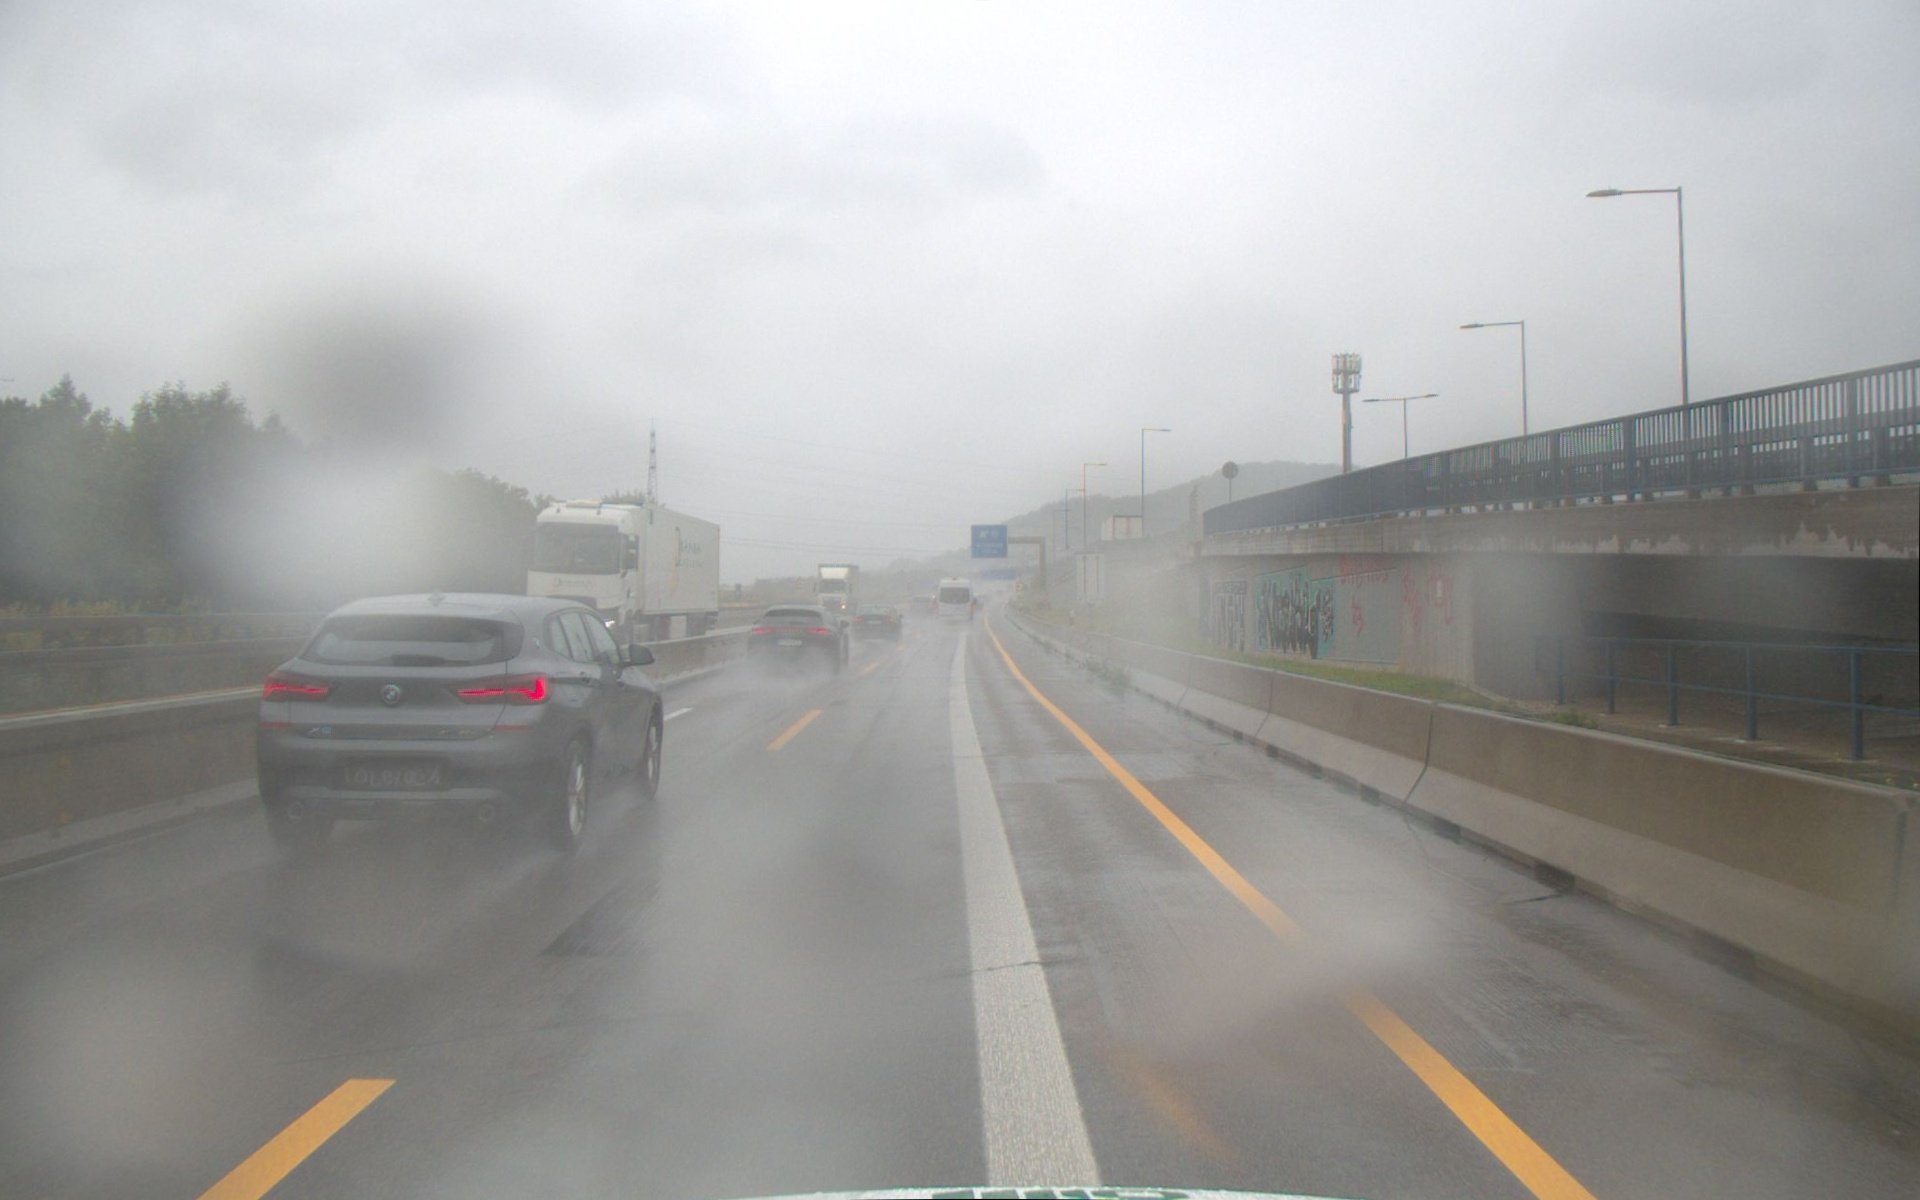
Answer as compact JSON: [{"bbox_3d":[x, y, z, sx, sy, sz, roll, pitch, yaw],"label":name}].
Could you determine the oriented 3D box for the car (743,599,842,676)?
[{"bbox_3d":[-3.523,0.790,35.492,1.807,1.517,4.259,1,-1,-2],"label":"car"}]

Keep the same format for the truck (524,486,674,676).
[{"bbox_3d":[-9.520,-0.420,44.329,2.507,4.684,6.451,1,-1,0],"label":"truck"}]

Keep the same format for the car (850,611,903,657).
[{"bbox_3d":[-3.067,1.219,61.302,1.807,1.517,4.260,-2,0,-2],"label":"car"}]

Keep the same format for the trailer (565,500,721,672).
[{"bbox_3d":[-9.533,-0.292,51.194,2.495,4.670,12.007,1,-1,0],"label":"trailer"}]

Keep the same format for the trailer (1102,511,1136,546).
[{"bbox_3d":[13.629,-6.101,142.475,1.952,2.143,13.770,1,-1,2],"label":"trailer"}]

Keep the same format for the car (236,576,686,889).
[{"bbox_3d":[-3.015,0.738,11.115,1.666,1.626,4.843,1,-1,-2],"label":"car"}]

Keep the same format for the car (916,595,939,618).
[{"bbox_3d":[-2.269,0.471,116.575,1.535,1.506,2.820,-2,-1,-2],"label":"car"}]

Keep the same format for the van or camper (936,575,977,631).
[{"bbox_3d":[-0.193,0.204,85.907,1.956,2.826,4.048,1,-1,-2],"label":"van or camper"}]
